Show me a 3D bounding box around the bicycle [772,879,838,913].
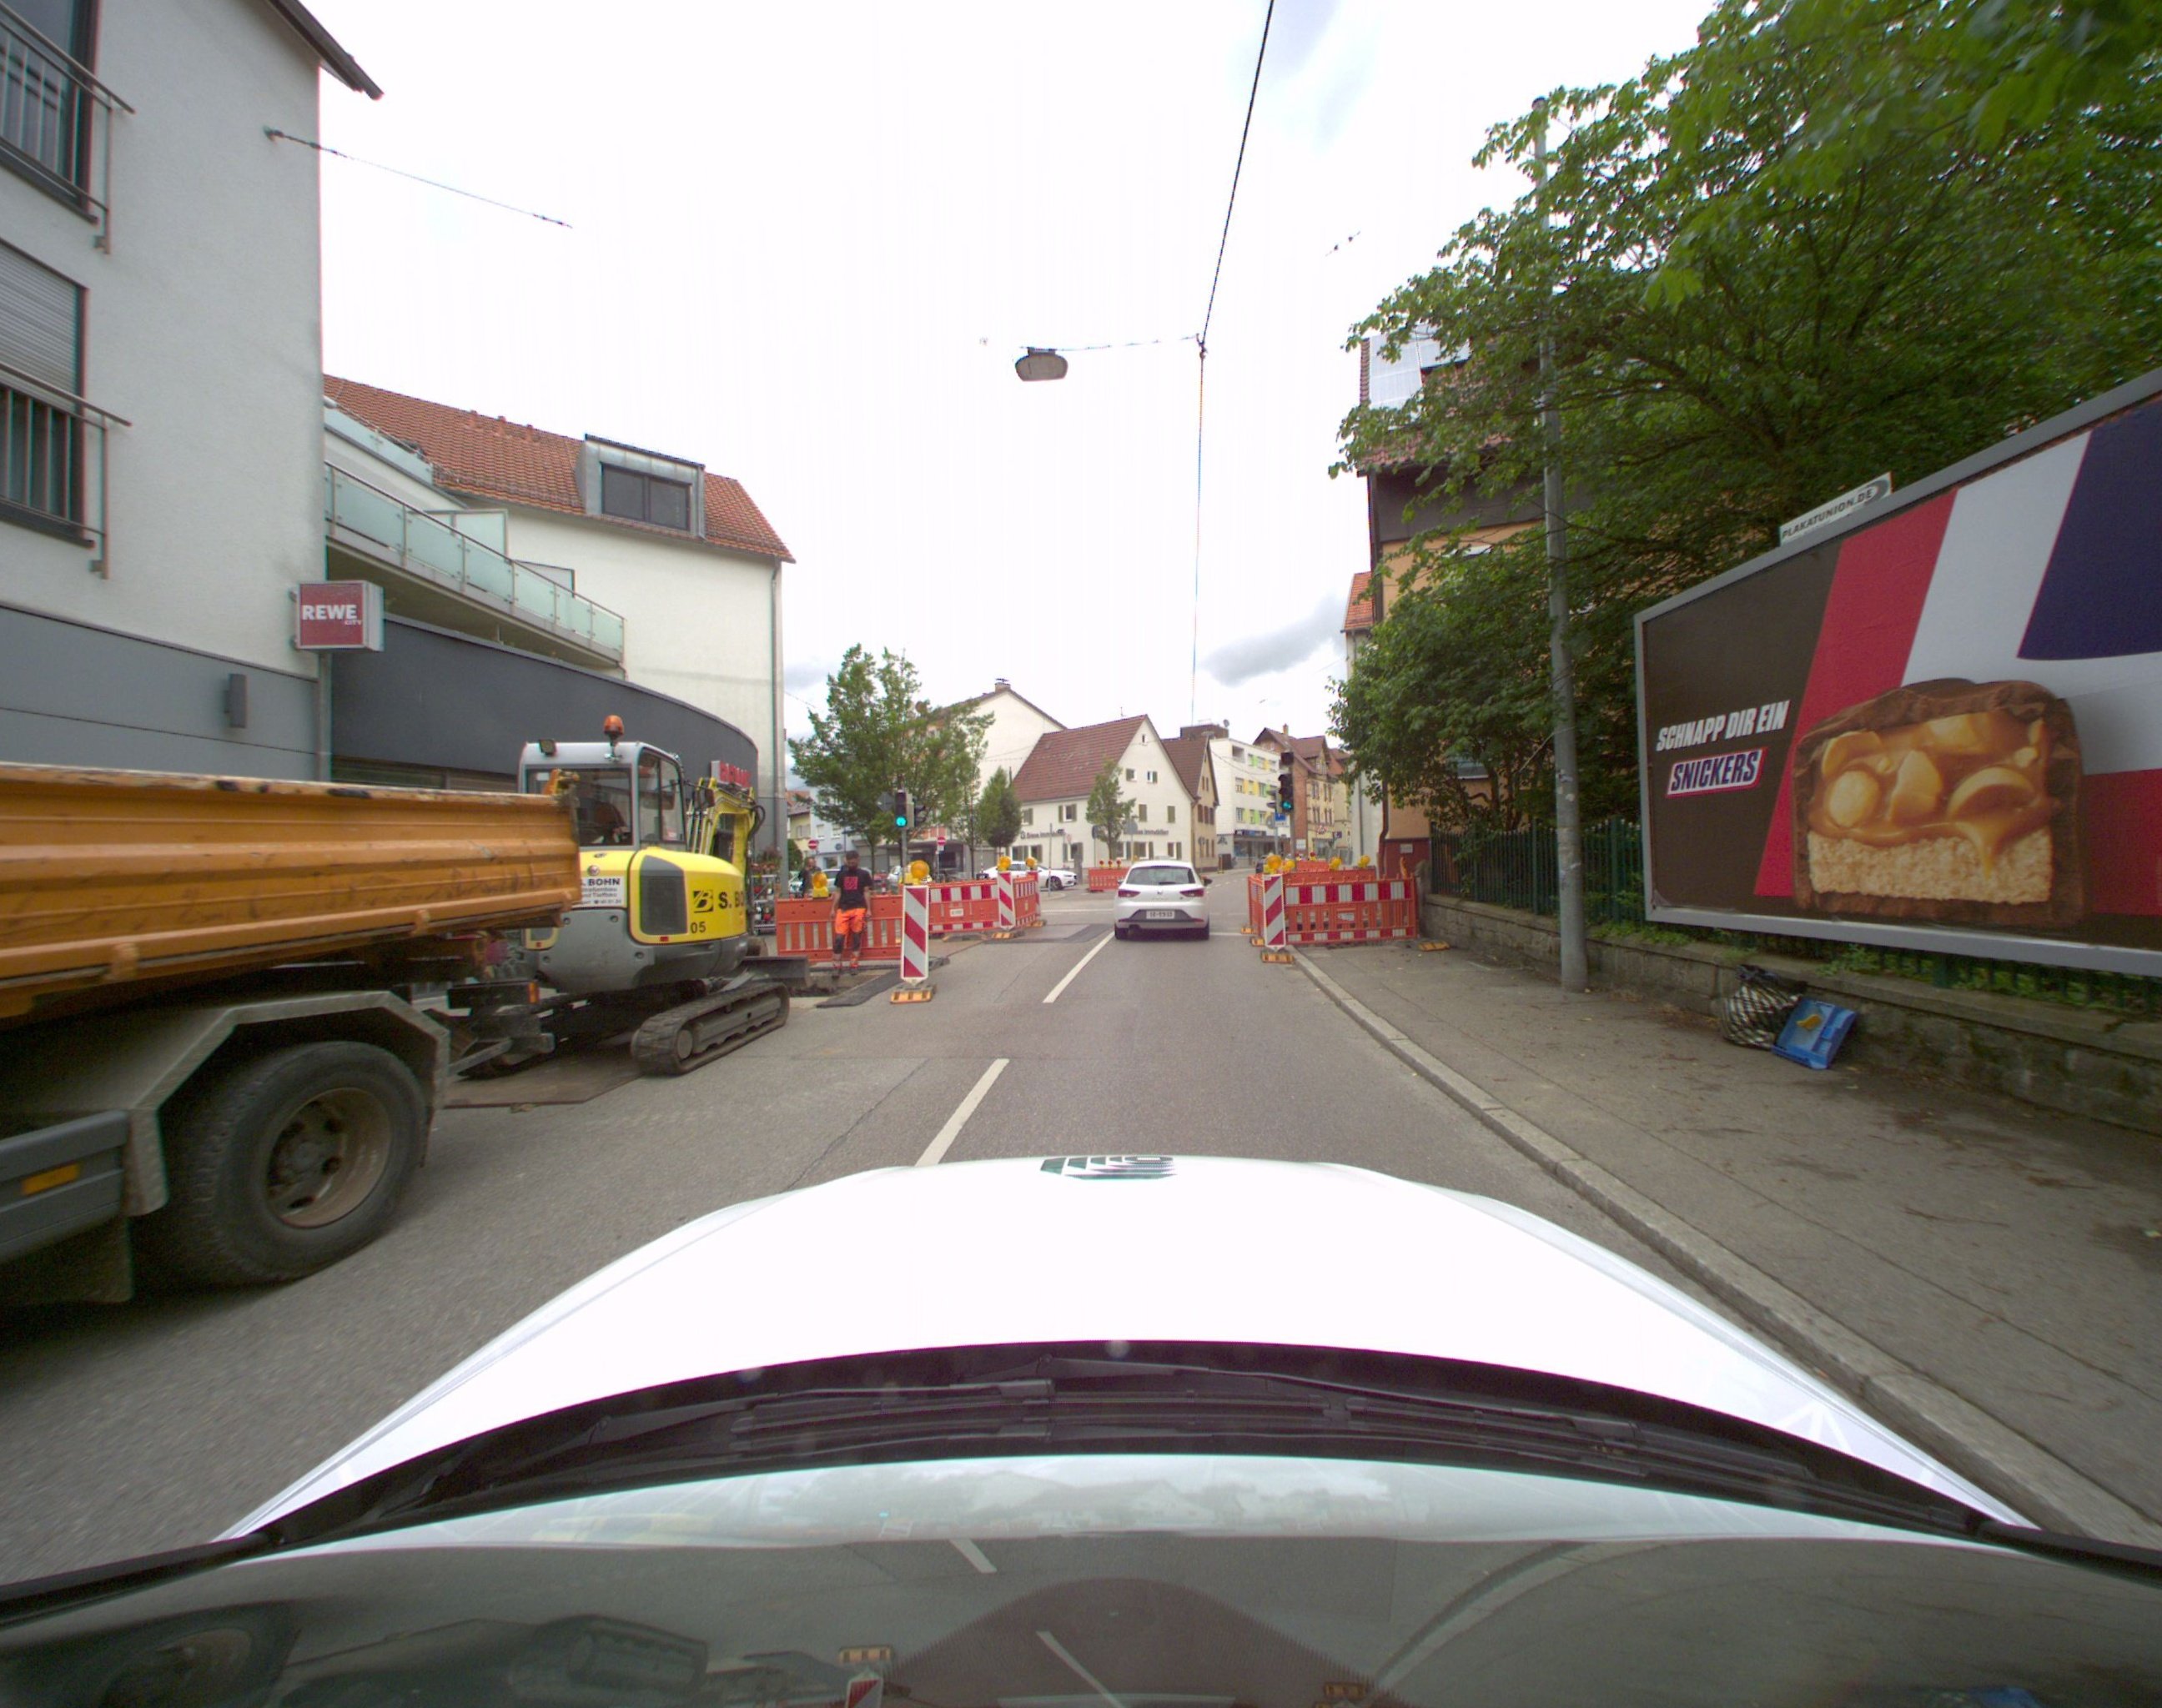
[{"bbox_3d":[-10.243,1.549,30.284,2.163,1.046,0.742,-4,1,-40],"label":"bicycle"}]

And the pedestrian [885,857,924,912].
[{"bbox_3d":[-5.249,0.913,24.255,0.674,1.592,0.884,-2,-1,29],"label":"pedestrian"}]

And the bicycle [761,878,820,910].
[{"bbox_3d":[-11.244,1.545,31.574,1.970,1.074,0.802,-3,0,-38],"label":"bicycle"}]

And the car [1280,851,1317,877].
[{"bbox_3d":[17.964,0.774,67.145,1.974,2.013,4.025,-2,0,29],"label":"car"}]

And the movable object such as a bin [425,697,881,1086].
[{"bbox_3d":[-3.672,0.313,8.140,1.830,2.763,4.511,-2,-1,5],"label":"movable object such as a bin"}]

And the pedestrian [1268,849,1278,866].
[{"bbox_3d":[20.219,0.362,85.767,0.885,1.665,0.865,-2,-1,17],"label":"pedestrian"}]

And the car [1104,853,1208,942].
[{"bbox_3d":[1.583,0.743,16.085,1.801,1.480,3.880,0,1,9],"label":"car"}]

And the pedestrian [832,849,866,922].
[{"bbox_3d":[-6.327,0.852,22.195,0.817,1.925,0.779,-1,0,-19],"label":"pedestrian"}]

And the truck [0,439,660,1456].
[{"bbox_3d":[-4.288,0.280,1.826,2.720,2.725,6.854,-2,0,3],"label":"truck"}]

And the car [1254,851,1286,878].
[{"bbox_3d":[11.908,0.628,51.168,1.798,1.480,3.887,-2,1,15],"label":"car"}]

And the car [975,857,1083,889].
[{"bbox_3d":[-2.490,0.899,39.618,4.876,1.477,2.254,-1,0,7],"label":"car"}]

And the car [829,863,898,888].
[{"bbox_3d":[-14.135,1.356,52.708,4.856,1.557,2.034,-1,0,43],"label":"car"}]

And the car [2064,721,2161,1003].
[{"bbox_3d":[9.679,0.014,4.996,4.173,2.033,2.012,-2,0,30],"label":"car"}]

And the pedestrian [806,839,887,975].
[{"bbox_3d":[-3.243,0.710,11.318,0.810,1.816,0.745,-2,0,6],"label":"pedestrian"}]

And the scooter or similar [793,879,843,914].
[{"bbox_3d":[-9.125,1.449,28.302,1.540,1.123,0.590,-2,0,-40],"label":"scooter or similar"}]

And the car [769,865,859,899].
[{"bbox_3d":[-14.566,1.496,44.637,1.974,1.640,4.355,-3,-1,34],"label":"car"}]

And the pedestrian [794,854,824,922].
[{"bbox_3d":[-7.393,0.914,22.142,0.694,1.791,0.713,-1,0,-23],"label":"pedestrian"}]

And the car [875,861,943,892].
[{"bbox_3d":[-9.699,1.207,45.612,2.029,1.557,4.867,-1,0,-34],"label":"car"}]

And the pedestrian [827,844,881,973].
[{"bbox_3d":[-3.145,0.750,11.309,0.534,1.744,0.444,-2,0,7],"label":"pedestrian"}]
